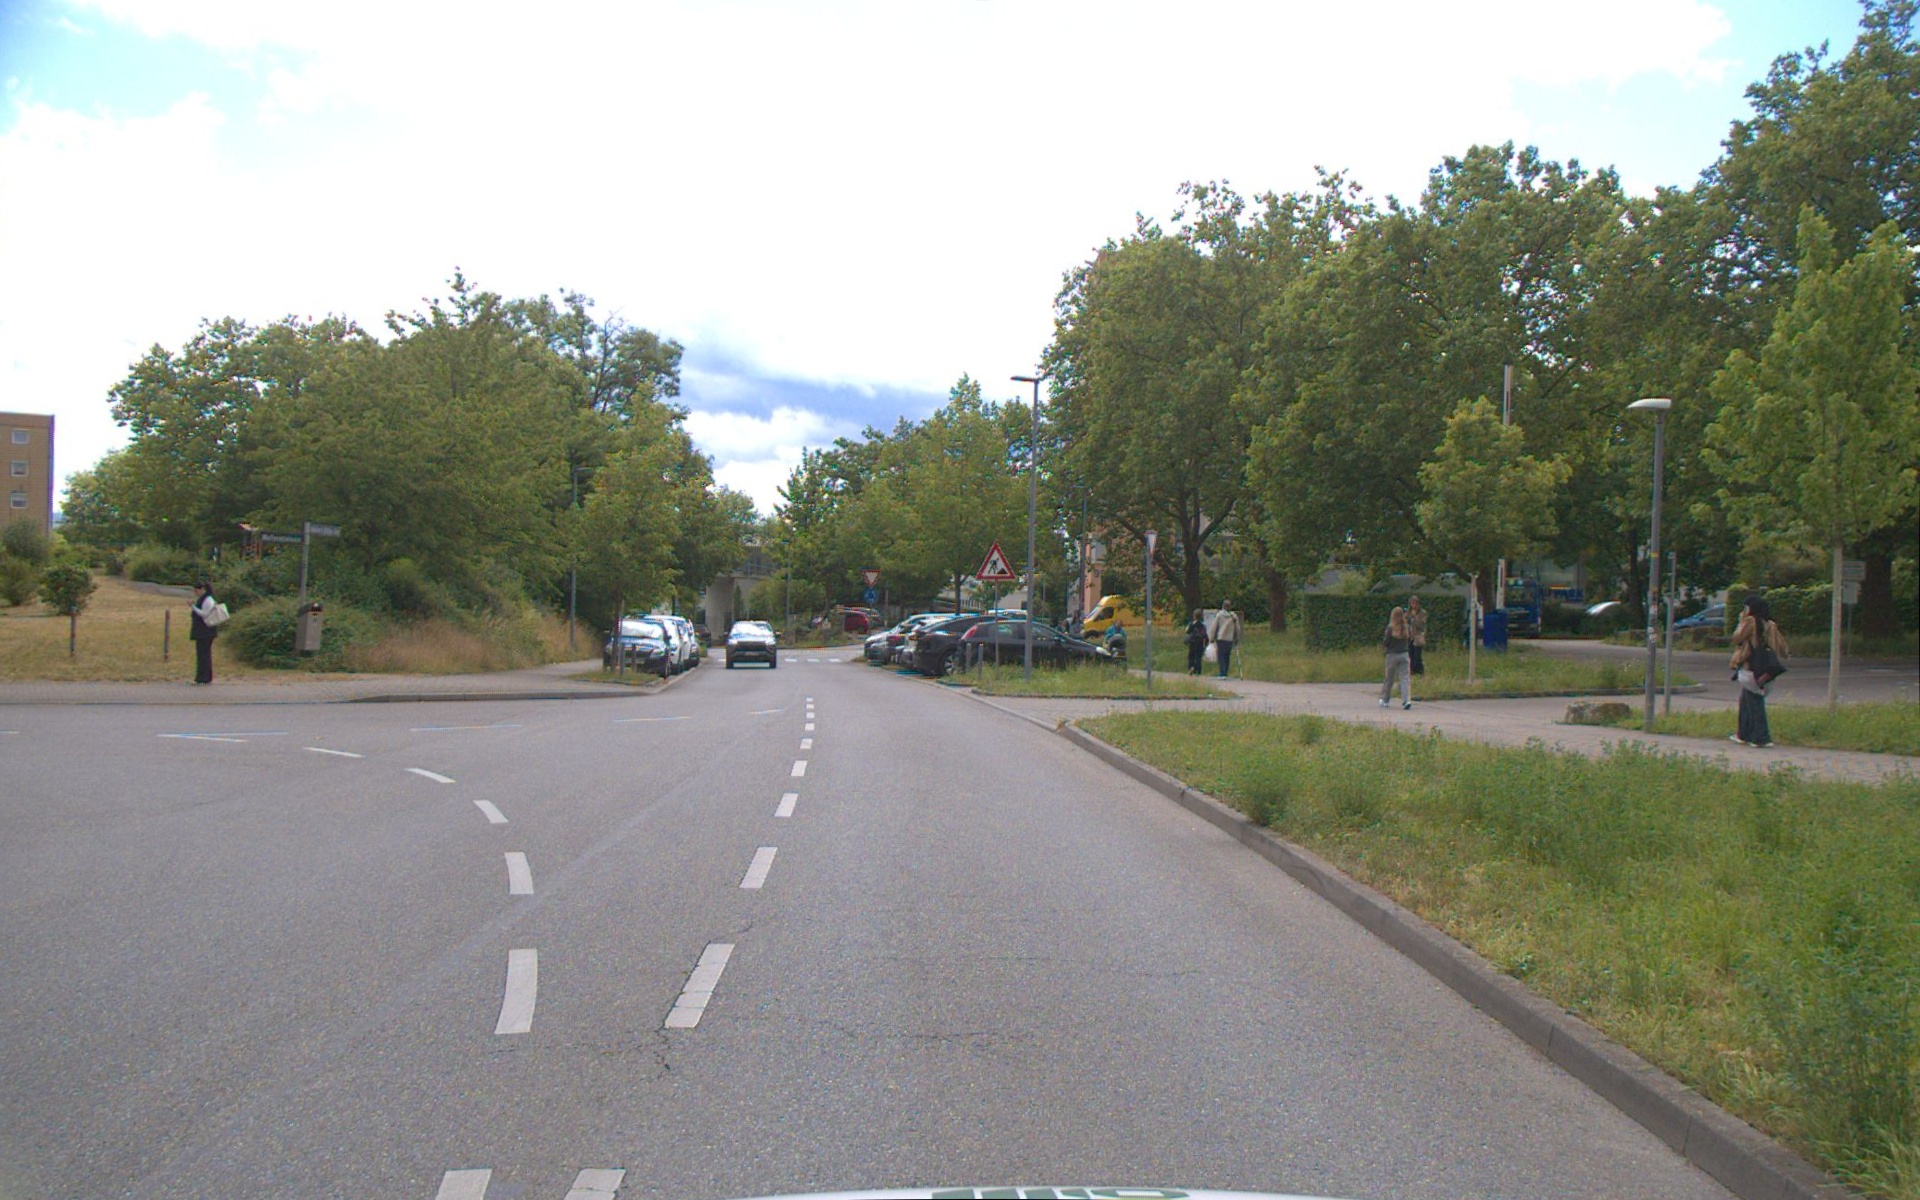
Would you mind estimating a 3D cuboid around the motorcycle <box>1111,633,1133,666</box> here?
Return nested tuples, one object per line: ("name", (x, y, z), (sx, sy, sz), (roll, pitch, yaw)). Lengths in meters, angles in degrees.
("motorcycle", (4.373, 1.323, 44.751), (0.443, 0.808, 1.263), (0, 2, 0))

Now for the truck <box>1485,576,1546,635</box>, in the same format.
("truck", (24.010, 0.185, 71.623), (2.277, 2.335, 5.899), (2, 2, 17))

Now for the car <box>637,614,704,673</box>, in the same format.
("car", (-9.278, 1.363, 53.215), (1.731, 1.783, 3.931), (0, 0, -4))

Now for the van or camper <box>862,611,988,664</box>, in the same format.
("van or camper", (-1.336, 1.391, 62.323), (4.585, 1.902, 1.768), (0, 2, -9))

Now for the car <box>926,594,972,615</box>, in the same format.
("car", (-0.901, 0.400, 138.585), (3.489, 1.683, 1.611), (2, 0, -21))

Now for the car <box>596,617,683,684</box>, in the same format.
("car", (-8.167, 1.255, 42.399), (1.731, 1.526, 3.931), (0, 1, -4))

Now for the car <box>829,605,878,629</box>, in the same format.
("car", (-7.937, 1.247, 123.726), (3.467, 1.683, 1.622), (1, 0, 1))

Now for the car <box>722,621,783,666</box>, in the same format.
("car", (-7.321, 1.515, 58.646), (1.935, 1.489, 3.931), (0, 0, -4))

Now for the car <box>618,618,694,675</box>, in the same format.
("car", (-8.686, 1.294, 47.472), (1.731, 1.526, 3.931), (0, 0, -4))

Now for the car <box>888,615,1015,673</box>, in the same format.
("car", (-0.262, 1.334, 50.917), (3.842, 1.658, 1.771), (0, 2, -1))

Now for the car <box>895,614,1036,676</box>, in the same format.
("car", (0.137, 1.262, 45.820), (3.842, 1.659, 1.771), (0, -3, -1))

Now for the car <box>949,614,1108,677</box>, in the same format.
("car", (1.657, 1.148, 40.897), (3.842, 1.494, 1.771), (0, -3, -1))

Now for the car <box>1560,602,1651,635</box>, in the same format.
("car", (32.407, 0.921, 83.106), (3.842, 1.526, 1.771), (0, 2, -1))

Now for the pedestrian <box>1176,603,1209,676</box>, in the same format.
("pedestrian", (5.770, 0.961, 41.118), (0.758, 1.752, 0.824), (1, 1, 8))

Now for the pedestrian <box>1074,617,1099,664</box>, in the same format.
("pedestrian", (3.944, 1.255, 51.578), (0.676, 1.449, 0.753), (1, 0, -1))

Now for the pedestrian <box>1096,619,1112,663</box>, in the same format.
("pedestrian", (3.930, 1.113, 45.138), (0.387, 1.172, 0.485), (1, 1, -1))

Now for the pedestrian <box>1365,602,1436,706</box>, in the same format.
("pedestrian", (7.144, 0.863, 26.865), (0.764, 1.624, 0.818), (0, 2, -22))

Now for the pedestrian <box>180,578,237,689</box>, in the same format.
("pedestrian", (-12.187, 0.527, 26.845), (0.809, 1.752, 0.771), (0, 2, -23))

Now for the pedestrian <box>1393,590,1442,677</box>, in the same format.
("pedestrian", (9.403, 0.674, 34.001), (0.760, 1.724, 0.822), (2, 2, 29))

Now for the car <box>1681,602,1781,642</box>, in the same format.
("car", (33.260, 0.935, 71.466), (3.842, 1.526, 1.771), (1, 2, 23))

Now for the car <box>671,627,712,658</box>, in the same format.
("car", (-12.391, 1.953, 76.476), (1.705, 1.349, 3.808), (0, 0, -8))

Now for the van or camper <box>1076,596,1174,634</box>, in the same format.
("van or camper", (9.310, 0.852, 93.672), (5.190, 2.077, 2.058), (0, 2, -6))

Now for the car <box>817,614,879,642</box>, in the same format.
("car", (-6.879, 1.704, 101.928), (3.489, 1.591, 1.611), (2, 0, -21))

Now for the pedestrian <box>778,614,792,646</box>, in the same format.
("pedestrian", (-10.367, 1.775, 97.929), (0.708, 1.897, 0.649), (0, 1, -12))

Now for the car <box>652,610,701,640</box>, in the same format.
("car", (-13.893, 1.211, 80.988), (1.193, 1.360, 2.566), (2, 0, -42))

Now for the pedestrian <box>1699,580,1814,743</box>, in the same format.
("pedestrian", (8.871, 0.667, 18.439), (0.762, 1.752, 0.819), (1, 2, -19))

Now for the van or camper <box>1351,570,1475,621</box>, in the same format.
("van or camper", (18.417, -0.203, 67.257), (4.583, 1.947, 1.769), (1, 2, 28))

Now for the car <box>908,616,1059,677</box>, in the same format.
("car", (0.587, 1.233, 43.104), (3.842, 1.527, 1.771), (0, -3, -1))

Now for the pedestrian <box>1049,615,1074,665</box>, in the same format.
("pedestrian", (3.172, 1.238, 51.538), (0.676, 1.530, 0.753), (1, 0, -1))

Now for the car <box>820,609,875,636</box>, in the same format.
("car", (-7.406, 1.489, 108.671), (3.475, 1.683, 1.618), (1, 0, -9))

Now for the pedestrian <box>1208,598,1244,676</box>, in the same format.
("pedestrian", (6.150, 0.854, 38.301), (0.784, 1.752, 0.824), (1, 1, 9))

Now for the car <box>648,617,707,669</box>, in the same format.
("car", (-10.005, 1.487, 58.825), (1.704, 1.740, 4.078), (0, 0, -5))
